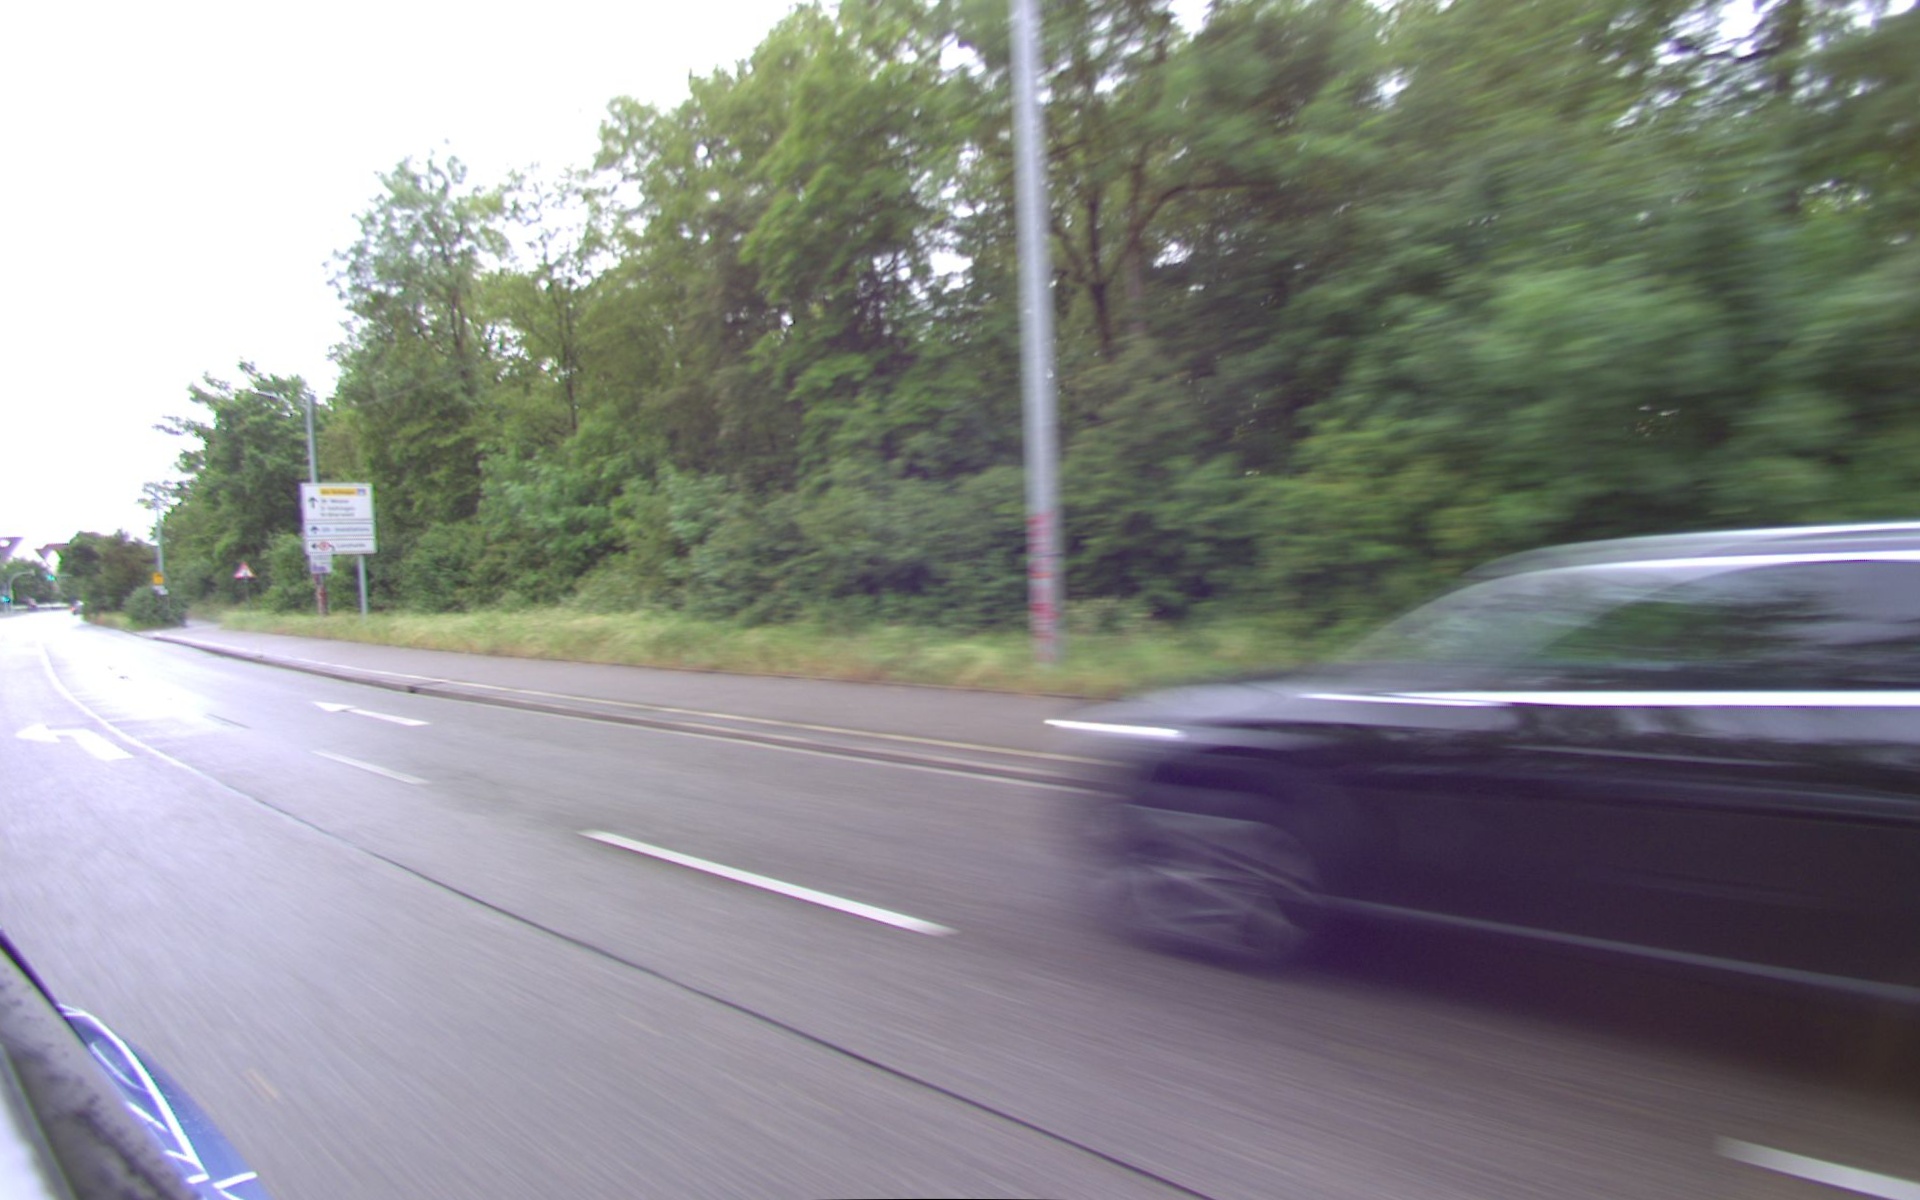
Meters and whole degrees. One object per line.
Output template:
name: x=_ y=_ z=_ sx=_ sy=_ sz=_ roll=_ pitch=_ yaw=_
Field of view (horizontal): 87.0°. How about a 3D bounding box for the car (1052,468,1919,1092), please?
car: x=2.713 y=0.452 z=3.545 sx=4.512 sy=1.607 sz=1.791 roll=-1 pitch=0 yaw=39
